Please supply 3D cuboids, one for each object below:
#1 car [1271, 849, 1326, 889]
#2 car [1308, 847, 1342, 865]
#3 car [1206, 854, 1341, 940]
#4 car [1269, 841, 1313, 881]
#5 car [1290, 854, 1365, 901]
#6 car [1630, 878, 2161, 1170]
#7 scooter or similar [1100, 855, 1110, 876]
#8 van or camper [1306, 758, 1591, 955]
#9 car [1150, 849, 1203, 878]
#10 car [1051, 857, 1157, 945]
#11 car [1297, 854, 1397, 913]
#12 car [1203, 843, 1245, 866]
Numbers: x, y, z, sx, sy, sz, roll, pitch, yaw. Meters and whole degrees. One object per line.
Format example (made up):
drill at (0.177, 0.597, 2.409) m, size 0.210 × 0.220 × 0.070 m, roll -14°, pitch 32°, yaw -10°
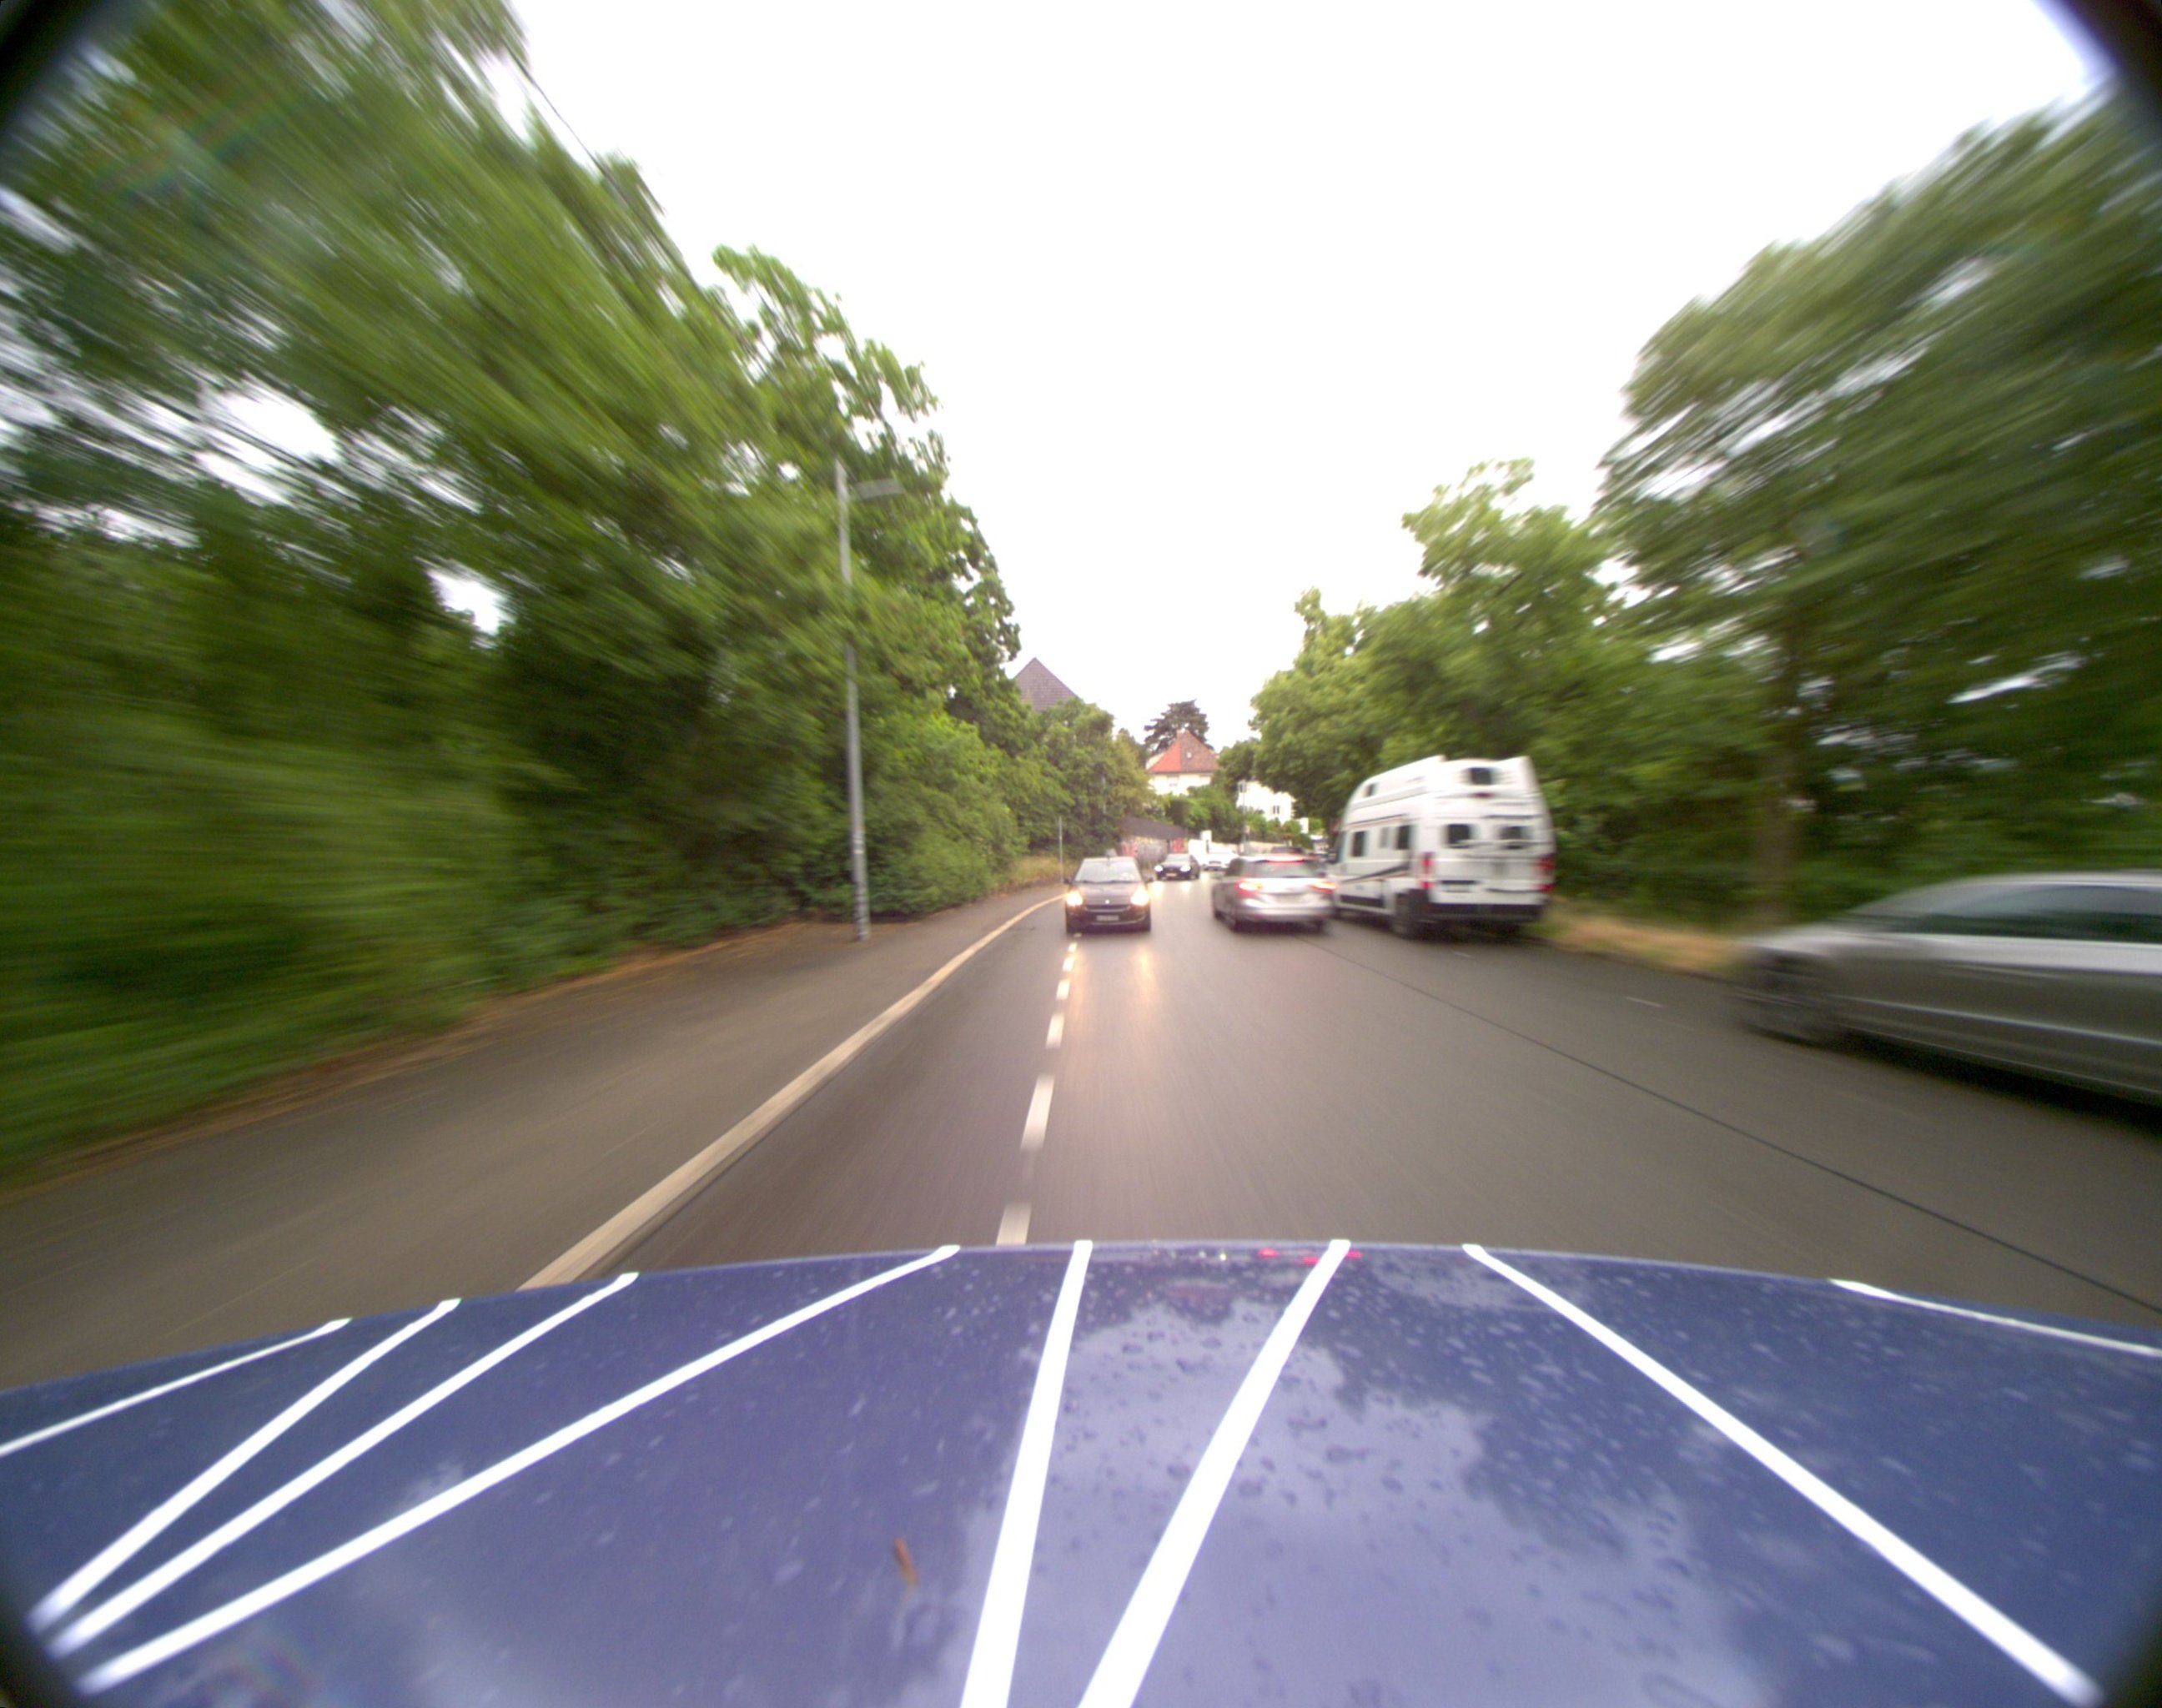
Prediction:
car at (8.910, 0.576, 31.411) m, size 1.957 × 1.453 × 4.580 m, roll 2°, pitch 1°, yaw 14°
car at (20.233, 0.176, 62.865) m, size 1.655 × 1.421 × 4.384 m, roll 3°, pitch 1°, yaw 31°
car at (3.662, 0.738, 15.214) m, size 1.887 × 1.394 × 4.256 m, roll 0°, pitch 1°, yaw 4°
car at (11.423, 0.349, 41.084) m, size 1.956 × 1.956 × 5.009 m, roll 4°, pitch 1°, yaw 18°
car at (8.448, 0.751, 26.293) m, size 1.957 × 1.400 × 3.547 m, roll 2°, pitch 1°, yaw 10°
car at (6.244, 0.890, 4.685) m, size 1.998 × 1.301 × 5.356 m, roll 1°, pitch 0°, yaw 2°
scooter or similar at (1.385, 0.657, 44.160) m, size 0.346 × 1.111 × 1.423 m, roll 3°, pitch 2°, yaw 9°
van or camper at (6.631, -0.017, 15.014) m, size 2.511 × 3.009 × 6.560 m, roll 1°, pitch 1°, yaw 1°
car at (5.251, 0.481, 41.364) m, size 2.027 × 1.455 × 4.005 m, roll 0°, pitch 1°, yaw 20°
car at (0.429, 0.827, 15.418) m, size 1.804 × 1.418 × 4.382 m, roll -2°, pitch 1°, yaw 1°
car at (7.336, 0.747, 21.359) m, size 1.957 × 1.400 × 4.211 m, roll 2°, pitch 1°, yaw 10°
car at (10.650, 0.041, 56.283) m, size 2.027 × 1.619 × 4.235 m, roll 0°, pitch 1°, yaw 26°
